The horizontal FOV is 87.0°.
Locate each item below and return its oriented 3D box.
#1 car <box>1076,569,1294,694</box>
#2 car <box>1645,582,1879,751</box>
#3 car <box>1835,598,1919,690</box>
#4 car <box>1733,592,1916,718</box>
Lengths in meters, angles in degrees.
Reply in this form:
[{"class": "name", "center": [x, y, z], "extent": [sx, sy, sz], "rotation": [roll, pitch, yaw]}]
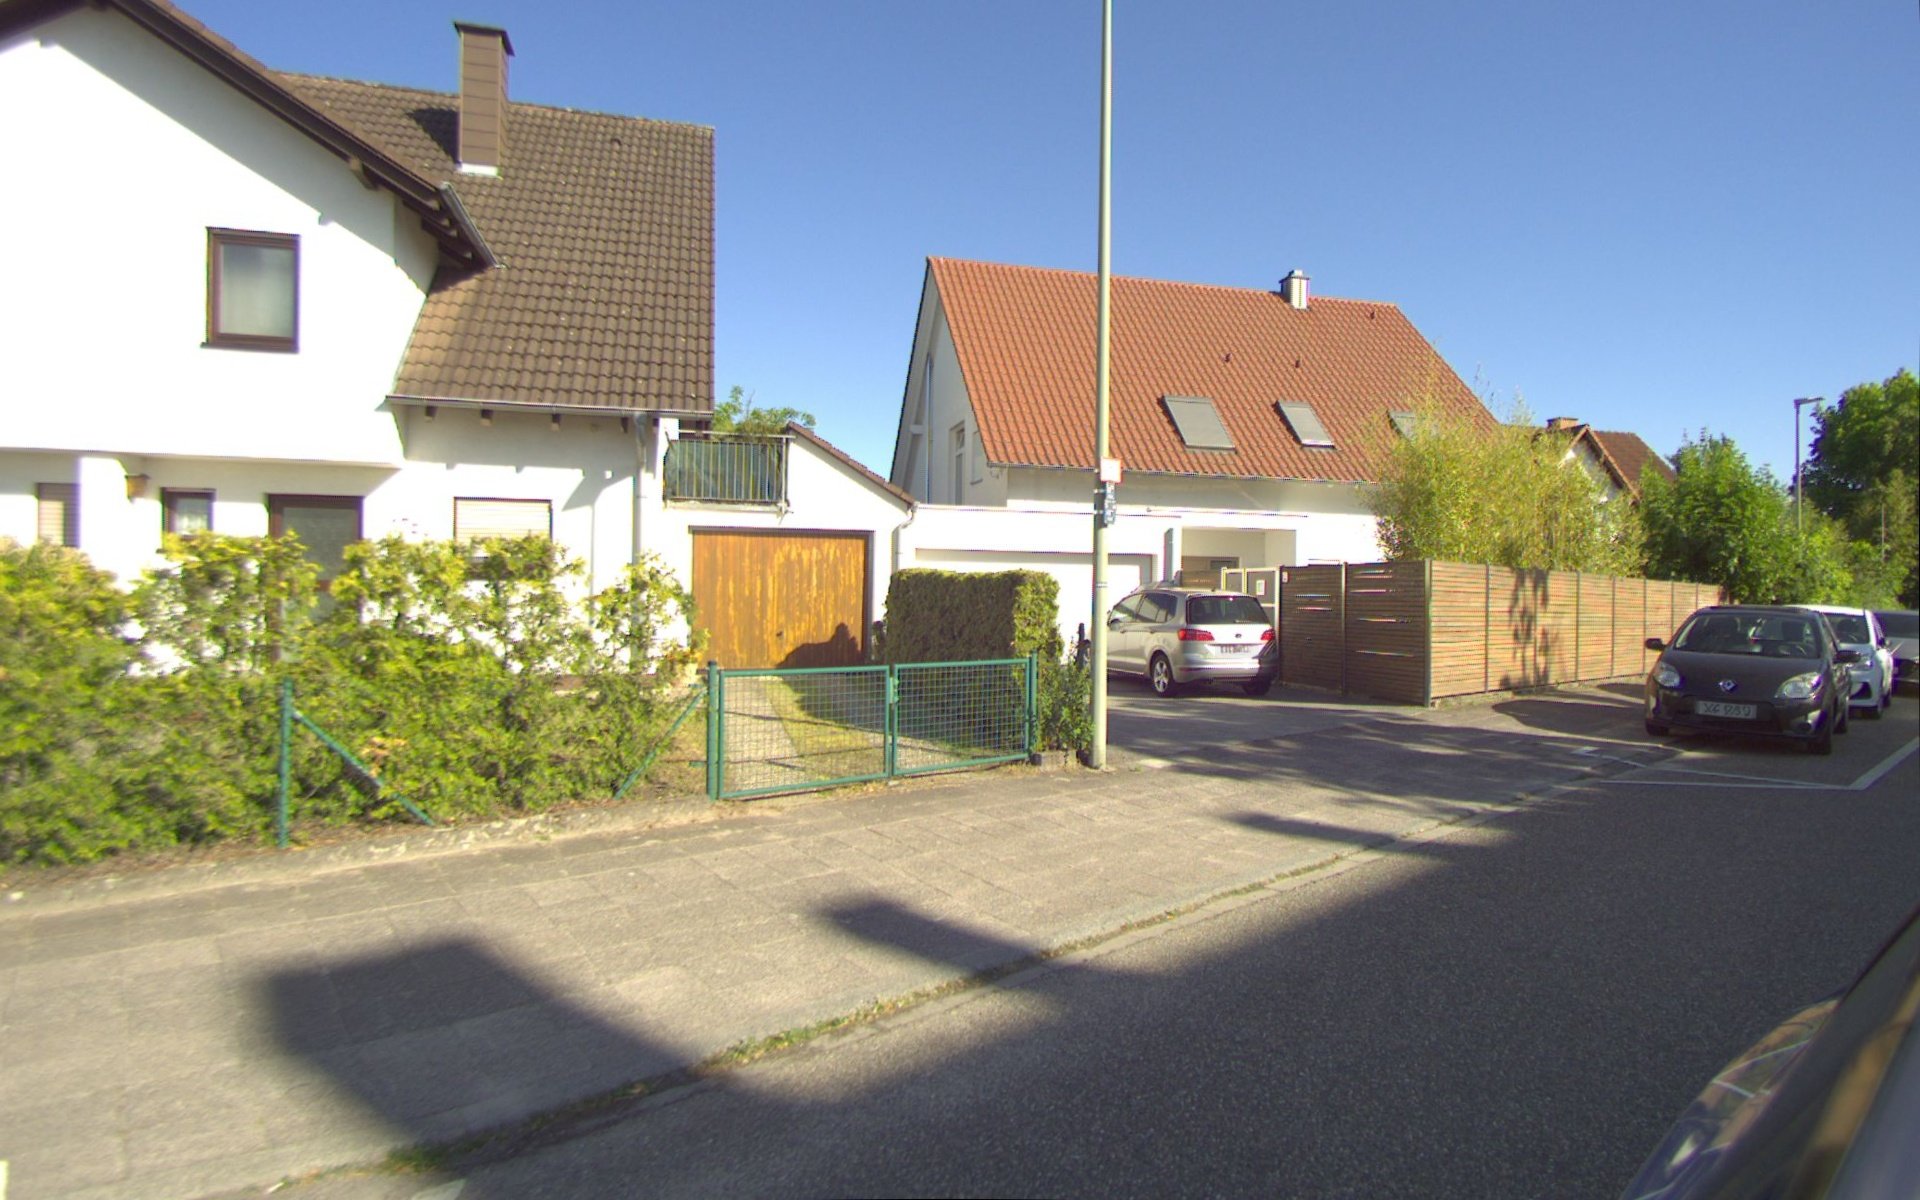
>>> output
[{"class": "car", "center": [3.369, 0.414, 16.008], "extent": [1.675, 1.706, 4.008], "rotation": [1, 0, -15]}, {"class": "car", "center": [9.304, 0.646, 11.635], "extent": [3.753, 1.621, 1.657], "rotation": [0, 0, -44]}, {"class": "car", "center": [17.360, 0.751, 18.335], "extent": [3.819, 1.512, 1.646], "rotation": [0, 1, -39]}, {"class": "car", "center": [12.837, 0.706, 14.954], "extent": [3.753, 1.621, 1.725], "rotation": [0, 0, -44]}]
